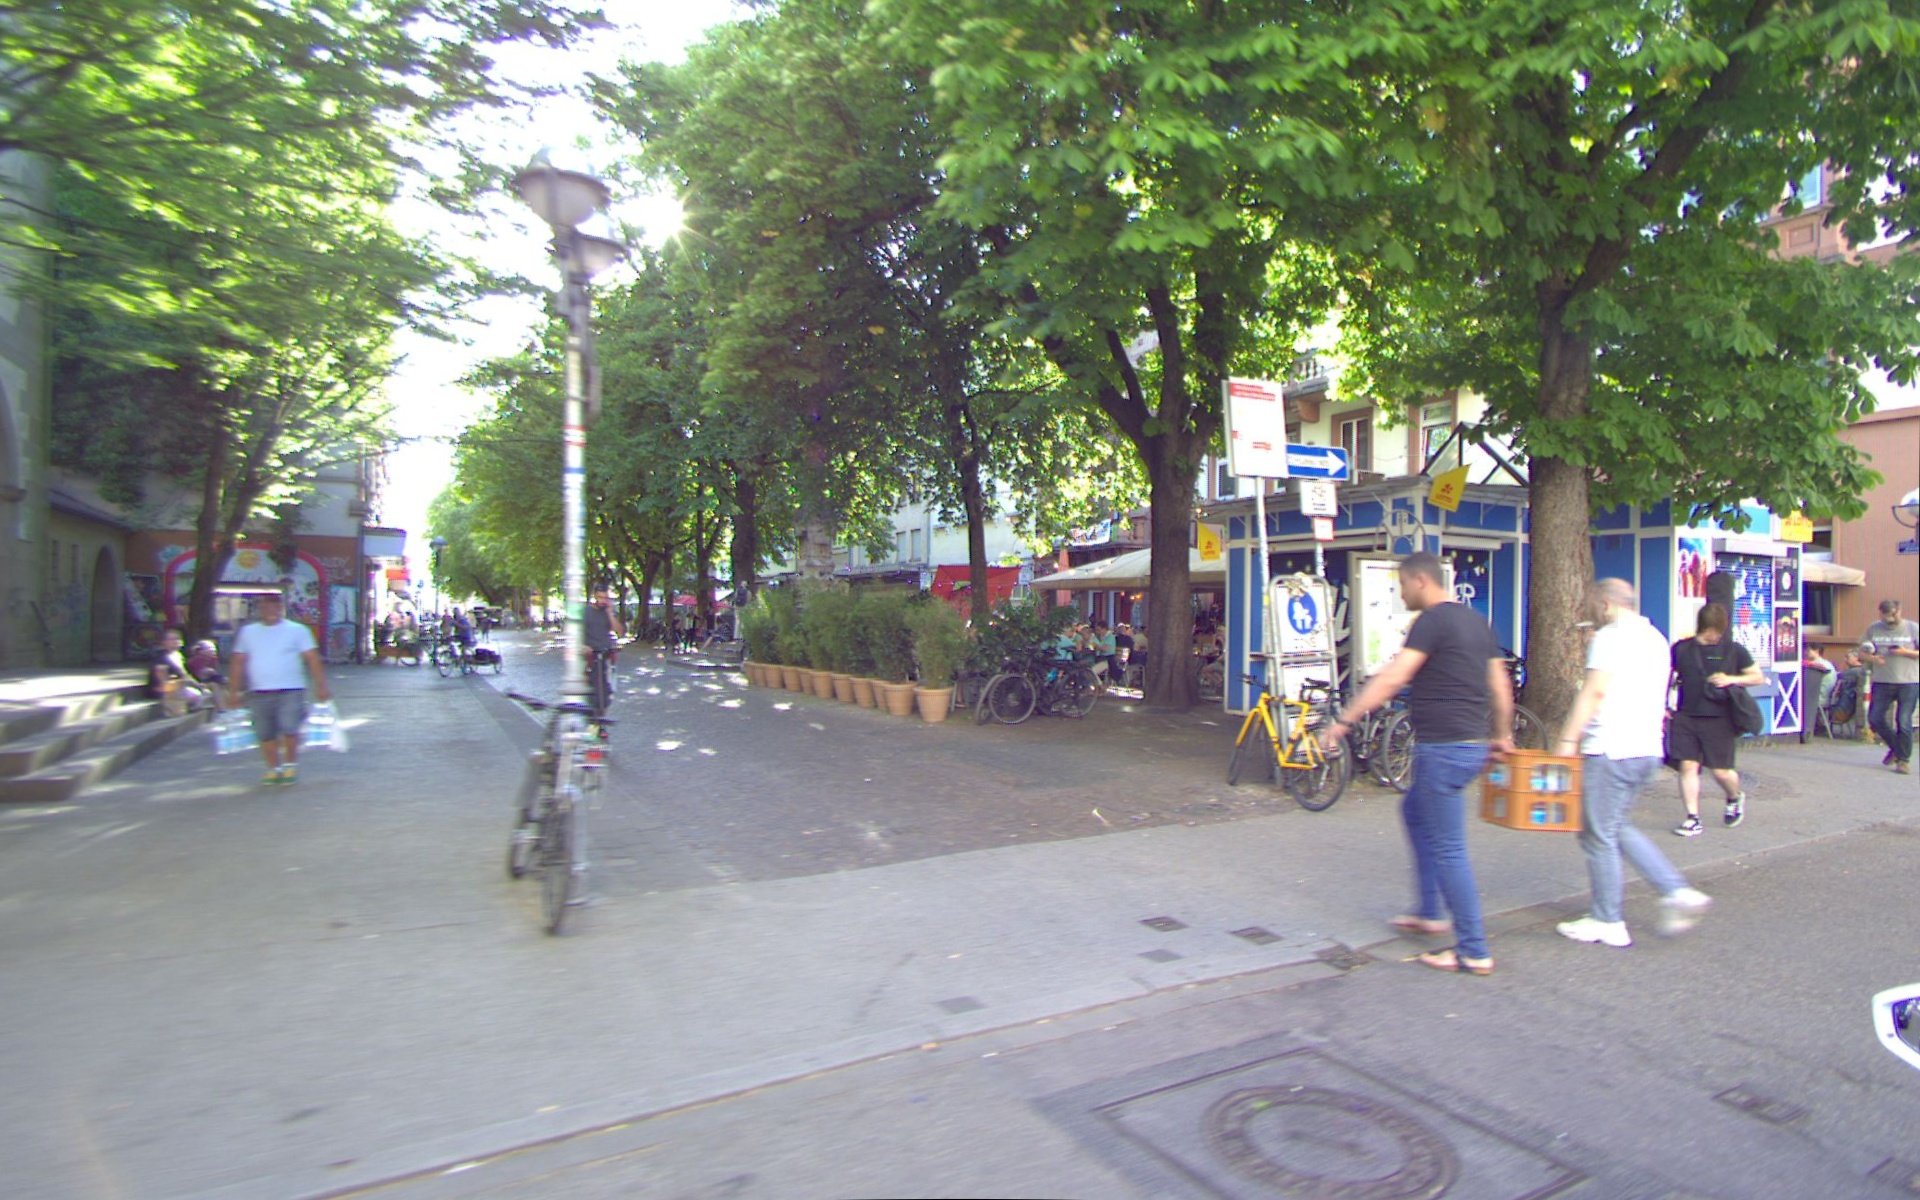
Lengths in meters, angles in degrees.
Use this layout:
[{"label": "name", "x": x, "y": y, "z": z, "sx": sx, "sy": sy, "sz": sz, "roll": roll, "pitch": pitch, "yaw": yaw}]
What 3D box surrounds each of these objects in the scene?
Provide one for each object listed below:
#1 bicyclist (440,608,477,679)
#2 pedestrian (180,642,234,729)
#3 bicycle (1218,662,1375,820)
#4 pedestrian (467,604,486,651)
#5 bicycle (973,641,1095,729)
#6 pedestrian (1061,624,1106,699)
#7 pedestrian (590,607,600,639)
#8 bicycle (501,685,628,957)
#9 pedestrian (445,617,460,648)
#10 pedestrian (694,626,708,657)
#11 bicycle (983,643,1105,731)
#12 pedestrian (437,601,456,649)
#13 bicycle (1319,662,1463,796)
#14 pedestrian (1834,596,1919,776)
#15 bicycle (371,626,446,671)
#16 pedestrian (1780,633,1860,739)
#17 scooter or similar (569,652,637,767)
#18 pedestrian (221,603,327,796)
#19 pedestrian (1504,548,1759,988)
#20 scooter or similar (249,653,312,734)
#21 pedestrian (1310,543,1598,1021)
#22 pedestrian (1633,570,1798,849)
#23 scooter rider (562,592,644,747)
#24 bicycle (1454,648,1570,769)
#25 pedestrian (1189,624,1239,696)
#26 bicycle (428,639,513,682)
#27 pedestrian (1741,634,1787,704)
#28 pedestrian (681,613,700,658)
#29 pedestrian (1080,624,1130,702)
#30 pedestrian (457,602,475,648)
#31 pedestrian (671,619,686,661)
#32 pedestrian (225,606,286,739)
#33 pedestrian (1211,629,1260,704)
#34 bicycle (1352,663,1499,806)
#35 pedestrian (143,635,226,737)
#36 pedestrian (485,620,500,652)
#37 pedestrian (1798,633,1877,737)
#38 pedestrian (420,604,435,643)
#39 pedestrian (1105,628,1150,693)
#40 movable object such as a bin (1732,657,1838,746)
[{"label": "bicyclist", "x": -12.931, "y": 1.115, "z": 25.929, "sx": 0.494, "sy": 1.785, "sz": 0.683, "roll": 1, "pitch": 0, "yaw": 10}, {"label": "pedestrian", "x": -10.217, "y": 1.144, "z": 13.641, "sx": 0.485, "sy": 1.122, "sz": 0.612, "roll": 2, "pitch": 0, "yaw": -30}, {"label": "bicycle", "x": 2.739, "y": 1.106, "z": 8.330, "sx": 0.341, "sy": 1.097, "sz": 1.572, "roll": 2, "pitch": -1, "yaw": -18}, {"label": "pedestrian", "x": -24.363, "y": 1.378, "z": 50.578, "sx": 0.722, "sy": 2.348, "sz": 0.758, "roll": 2, "pitch": 0, "yaw": -32}, {"label": "bicycle", "x": 1.059, "y": 1.172, "z": 14.115, "sx": 1.914, "sy": 1.106, "sz": 0.227, "roll": -1, "pitch": 1, "yaw": -31}, {"label": "pedestrian", "x": 2.241, "y": 1.104, "z": 18.222, "sx": 0.590, "sy": 1.322, "sz": 0.541, "roll": 2, "pitch": 0, "yaw": -30}, {"label": "pedestrian", "x": -23.119, "y": 1.457, "z": 63.648, "sx": 0.502, "sy": 2.040, "sz": 0.449, "roll": 2, "pitch": 0, "yaw": -30}, {"label": "bicycle", "x": -2.127, "y": 1.058, "z": 5.301, "sx": 0.343, "sy": 1.079, "sz": 1.681, "roll": 2, "pitch": -1, "yaw": -30}, {"label": "pedestrian", "x": -28.397, "y": 1.815, "z": 56.190, "sx": 0.722, "sy": 1.760, "sz": 0.758, "roll": 1, "pitch": -1, "yaw": -30}, {"label": "pedestrian", "x": -9.887, "y": 1.594, "z": 38.362, "sx": 0.407, "sy": 1.165, "sz": 0.427, "roll": 2, "pitch": 0, "yaw": -30}, {"label": "bicycle", "x": 1.185, "y": 1.173, "z": 13.904, "sx": 1.914, "sy": 1.106, "sz": 0.227, "roll": 0, "pitch": 1, "yaw": -31}, {"label": "pedestrian", "x": -25.575, "y": 1.252, "z": 50.002, "sx": 0.722, "sy": 2.348, "sz": 0.758, "roll": 2, "pitch": 0, "yaw": -33}, {"label": "bicycle", "x": 3.841, "y": 1.106, "z": 8.899, "sx": 1.559, "sy": 1.060, "sz": 0.291, "roll": 0, "pitch": 0, "yaw": -30}, {"label": "pedestrian", "x": 10.014, "y": 0.897, "z": 10.827, "sx": 0.689, "sy": 1.858, "sz": 0.643, "roll": 2, "pitch": 1, "yaw": -30}, {"label": "bicycle", "x": -16.346, "y": 1.437, "z": 29.798, "sx": 1.905, "sy": 1.283, "sz": 0.520, "roll": 2, "pitch": -1, "yaw": -31}, {"label": "pedestrian", "x": 12.407, "y": 1.220, "z": 14.502, "sx": 0.610, "sy": 1.464, "sz": 0.702, "roll": 2, "pitch": 0, "yaw": -30}, {"label": "scooter or similar", "x": -4.029, "y": 1.195, "z": 11.304, "sx": 0.508, "sy": 1.175, "sz": 1.049, "roll": 2, "pitch": 0, "yaw": -30}, {"label": "pedestrian", "x": -5.992, "y": 0.843, "z": 8.804, "sx": 0.707, "sy": 1.614, "sz": 0.476, "roll": 2, "pitch": 0, "yaw": -32}, {"label": "pedestrian", "x": 3.156, "y": 0.717, "z": 4.749, "sx": 0.680, "sy": 1.860, "sz": 0.757, "roll": 2, "pitch": 0, "yaw": -31}, {"label": "scooter or similar", "x": -9.171, "y": 1.251, "z": 13.583, "sx": 0.497, "sy": 1.019, "sz": 0.730, "roll": 2, "pitch": 0, "yaw": -18}, {"label": "pedestrian", "x": 2.182, "y": 0.718, "z": 4.445, "sx": 0.992, "sy": 1.849, "sz": 0.690, "roll": 2, "pitch": 0, "yaw": -31}, {"label": "pedestrian", "x": 5.494, "y": 0.753, "z": 7.321, "sx": 0.711, "sy": 1.898, "sz": 0.713, "roll": 2, "pitch": 0, "yaw": -30}, {"label": "scooter rider", "x": -4.017, "y": 0.760, "z": 11.298, "sx": 0.712, "sy": 1.670, "sz": 0.684, "roll": 2, "pitch": 0, "yaw": -31}, {"label": "bicycle", "x": 5.987, "y": 1.117, "z": 10.841, "sx": 2.023, "sy": 1.146, "sz": 0.492, "roll": 1, "pitch": 0, "yaw": -43}, {"label": "pedestrian", "x": 4.879, "y": 1.149, "z": 19.322, "sx": 0.604, "sy": 1.338, "sz": 0.696, "roll": 2, "pitch": 0, "yaw": -21}, {"label": "bicycle", "x": -12.851, "y": 1.569, "z": 26.474, "sx": 0.478, "sy": 1.003, "sz": 2.767, "roll": 1, "pitch": -1, "yaw": 9}, {"label": "pedestrian", "x": 14.620, "y": 1.254, "z": 18.267, "sx": 0.416, "sy": 1.202, "sz": 0.441, "roll": 3, "pitch": 2, "yaw": -29}, {"label": "pedestrian", "x": -10.001, "y": 1.318, "z": 37.301, "sx": 0.583, "sy": 1.685, "sz": 0.312, "roll": 2, "pitch": 0, "yaw": -30}, {"label": "pedestrian", "x": 2.554, "y": 1.099, "z": 17.737, "sx": 0.627, "sy": 1.338, "sz": 0.565, "roll": 2, "pitch": 0, "yaw": -30}, {"label": "pedestrian", "x": -25.534, "y": 1.308, "z": 51.947, "sx": 0.722, "sy": 2.348, "sz": 0.758, "roll": 2, "pitch": 0, "yaw": -31}, {"label": "pedestrian", "x": -9.998, "y": 1.412, "z": 35.661, "sx": 0.420, "sy": 1.458, "sz": 0.312, "roll": 2, "pitch": 0, "yaw": -30}, {"label": "pedestrian", "x": -9.080, "y": 0.918, "z": 12.939, "sx": 0.546, "sy": 1.653, "sz": 0.554, "roll": 2, "pitch": 0, "yaw": -42}, {"label": "pedestrian", "x": 5.123, "y": 1.225, "z": 18.685, "sx": 0.625, "sy": 1.338, "sz": 0.597, "roll": 2, "pitch": 0, "yaw": -24}, {"label": "bicycle", "x": 3.997, "y": 1.111, "z": 8.591, "sx": 1.559, "sy": 1.097, "sz": 0.291, "roll": 0, "pitch": 0, "yaw": -30}, {"label": "pedestrian", "x": -9.930, "y": 1.086, "z": 12.886, "sx": 0.732, "sy": 1.248, "sz": 0.610, "roll": 2, "pitch": 0, "yaw": -30}, {"label": "pedestrian", "x": -23.726, "y": 1.834, "z": 50.969, "sx": 0.553, "sy": 1.588, "sz": 0.758, "roll": 2, "pitch": 0, "yaw": -32}, {"label": "pedestrian", "x": 12.925, "y": 1.237, "z": 14.801, "sx": 0.610, "sy": 1.464, "sz": 0.702, "roll": 2, "pitch": 0, "yaw": -30}, {"label": "pedestrian", "x": -32.120, "y": 1.427, "z": 60.560, "sx": 0.721, "sy": 2.348, "sz": 0.759, "roll": 2, "pitch": 0, "yaw": -26}, {"label": "pedestrian", "x": 3.426, "y": 1.227, "z": 20.563, "sx": 0.670, "sy": 1.284, "sz": 0.561, "roll": 2, "pitch": 0, "yaw": -30}, {"label": "movable object such as a bin", "x": 11.061, "y": 1.340, "z": 13.481, "sx": 0.764, "sy": 1.101, "sz": 0.866, "roll": 2, "pitch": 0, "yaw": -29}]
